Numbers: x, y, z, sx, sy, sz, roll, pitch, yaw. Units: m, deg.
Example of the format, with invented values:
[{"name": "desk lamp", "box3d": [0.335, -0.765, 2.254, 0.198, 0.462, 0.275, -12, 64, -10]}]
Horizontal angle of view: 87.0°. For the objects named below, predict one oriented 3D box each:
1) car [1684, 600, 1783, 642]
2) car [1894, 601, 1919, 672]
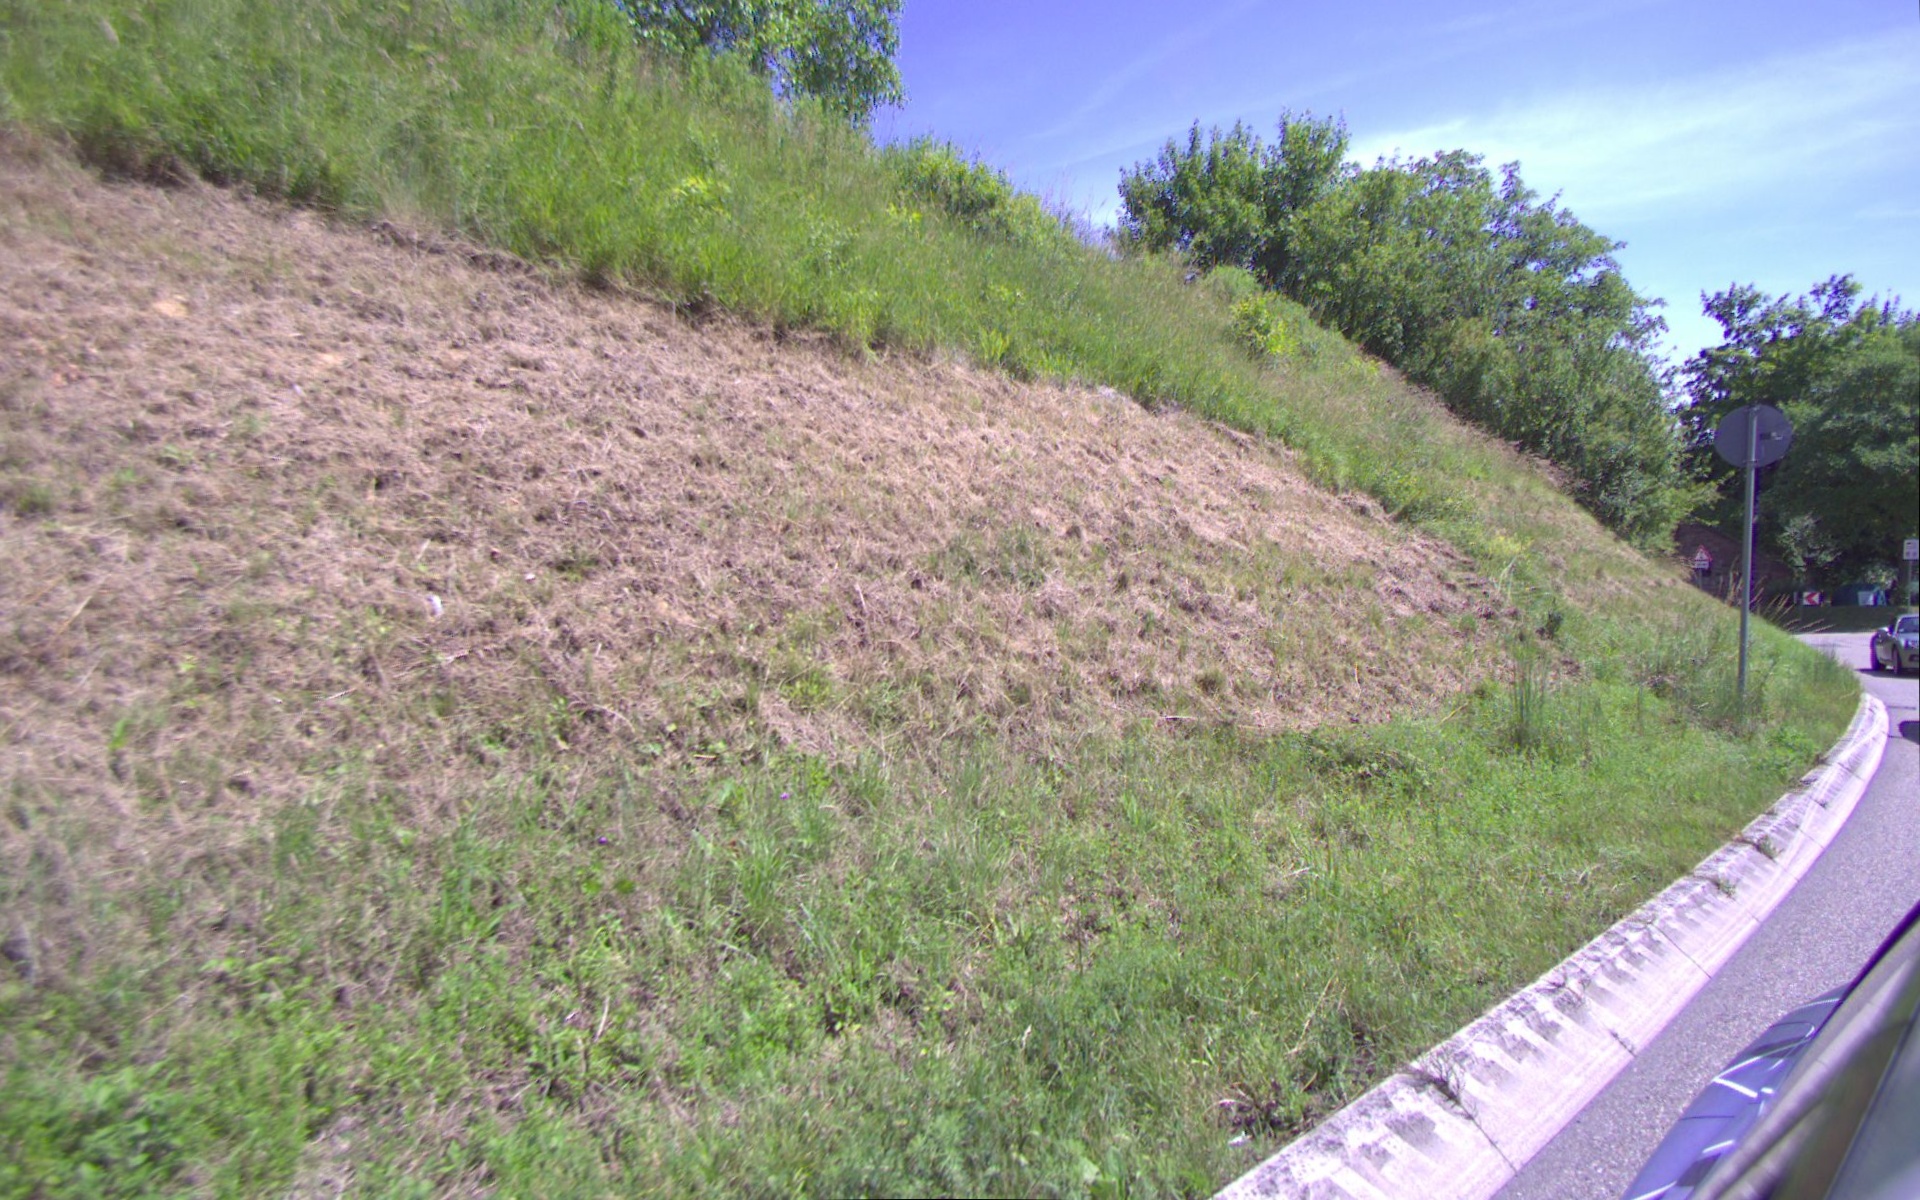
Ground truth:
[{"name": "car", "box3d": [29.147, 0.760, 38.281, 1.734, 1.304, 4.121, -1, 2, 19]}, {"name": "car", "box3d": [19.968, 0.759, 20.339, 1.644, 1.338, 3.383, 5, 3, 44]}]
